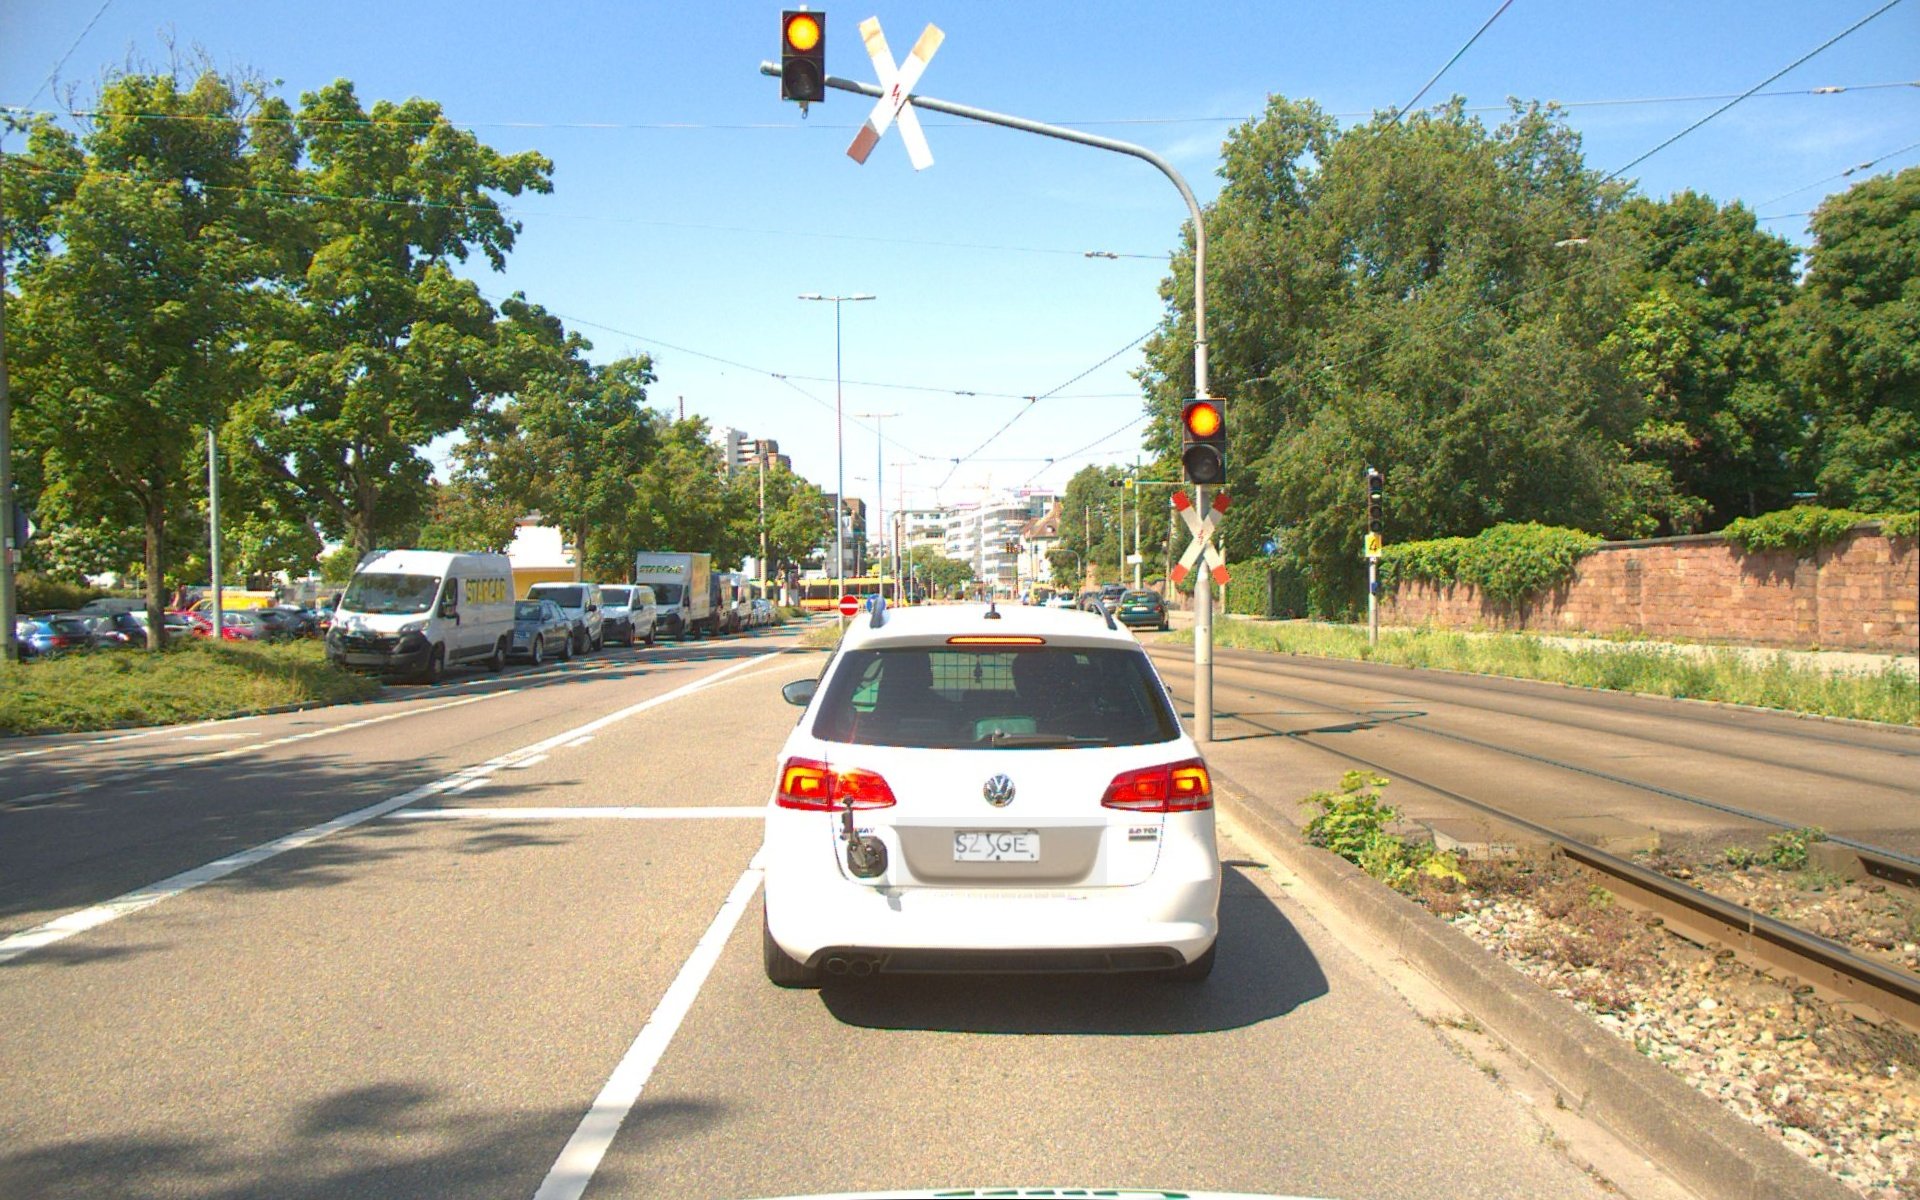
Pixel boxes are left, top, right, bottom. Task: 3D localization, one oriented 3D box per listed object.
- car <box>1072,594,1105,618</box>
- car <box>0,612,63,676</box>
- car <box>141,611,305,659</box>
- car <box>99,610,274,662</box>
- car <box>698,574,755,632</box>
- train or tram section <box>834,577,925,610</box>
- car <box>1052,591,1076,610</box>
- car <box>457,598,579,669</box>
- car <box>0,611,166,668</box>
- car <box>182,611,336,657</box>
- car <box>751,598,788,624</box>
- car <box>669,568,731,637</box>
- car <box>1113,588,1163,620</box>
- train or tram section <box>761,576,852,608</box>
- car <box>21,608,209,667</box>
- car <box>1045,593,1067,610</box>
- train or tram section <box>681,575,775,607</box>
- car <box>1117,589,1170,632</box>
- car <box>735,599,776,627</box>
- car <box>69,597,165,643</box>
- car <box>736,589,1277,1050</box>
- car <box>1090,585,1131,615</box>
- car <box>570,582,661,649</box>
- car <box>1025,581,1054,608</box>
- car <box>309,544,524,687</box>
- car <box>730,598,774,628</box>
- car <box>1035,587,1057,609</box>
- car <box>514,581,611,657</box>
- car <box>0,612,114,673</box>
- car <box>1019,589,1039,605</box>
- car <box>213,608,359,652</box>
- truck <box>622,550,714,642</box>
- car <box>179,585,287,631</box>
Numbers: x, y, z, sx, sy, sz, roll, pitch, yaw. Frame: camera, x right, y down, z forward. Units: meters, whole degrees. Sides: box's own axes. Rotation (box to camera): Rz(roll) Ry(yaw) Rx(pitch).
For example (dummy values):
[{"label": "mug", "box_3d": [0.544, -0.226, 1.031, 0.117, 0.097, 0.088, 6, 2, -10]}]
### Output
[{"label": "car", "box_3d": [8.005, 0.383, 103.367, 1.710, 1.432, 3.912, 1, 0, -1]}, {"label": "car", "box_3d": [-20.958, 0.934, 34.109, 3.907, 1.246, 1.770, -1, 0, -3]}, {"label": "car", "box_3d": [-21.263, 0.993, 47.796, 3.904, 1.246, 1.772, -1, 0, 2]}, {"label": "car", "box_3d": [-21.047, 0.966, 45.122, 3.904, 1.286, 1.772, -1, 0, 2]}, {"label": "car", "box_3d": [-10.797, 0.105, 76.816, 1.806, 2.538, 5.856, -1, 0, 0]}, {"label": "train or tram section", "box_3d": [-8.372, -0.735, 170.968, 11.076, 3.309, 2.294, 1, -1, 43]}, {"label": "car", "box_3d": [7.900, 0.041, 125.996, 1.549, 1.370, 3.453, 1, 0, -1]}, {"label": "car", "box_3d": [-10.502, 0.755, 39.560, 1.806, 1.543, 4.196, -1, 0, -1]}, {"label": "car", "box_3d": [-21.588, 0.952, 39.968, 3.904, 1.246, 1.772, -1, 0, 2]}, {"label": "car", "box_3d": [-21.253, 1.018, 50.249, 3.904, 1.246, 1.772, -1, 0, 2]}, {"label": "car", "box_3d": [-11.215, 0.643, 97.531, 1.744, 1.458, 4.037, -1, 0, -1]}, {"label": "car", "box_3d": [-10.839, 0.082, 69.249, 1.806, 2.715, 5.003, -1, 0, 0]}, {"label": "car", "box_3d": [8.380, 0.175, 78.325, 1.823, 1.441, 4.324, 1, 0, -1]}, {"label": "train or tram section", "box_3d": [-16.504, -0.852, 177.359, 10.580, 3.309, 2.302, 1, -1, 33]}, {"label": "car", "box_3d": [-21.716, 0.959, 42.580, 3.904, 1.373, 1.772, -1, 0, 2]}, {"label": "car", "box_3d": [7.898, 0.107, 136.390, 1.549, 1.370, 3.453, 1, 0, -1]}, {"label": "train or tram section", "box_3d": [-25.597, -0.996, 182.490, 10.766, 3.309, 2.307, 1, -1, 26]}, {"label": "car", "box_3d": [6.452, 0.337, 57.821, 1.708, 1.412, 3.916, 1, 0, 8]}, {"label": "car", "box_3d": [-11.403, 0.695, 92.348, 1.806, 1.458, 4.037, -1, 0, -1]}, {"label": "car", "box_3d": [-36.882, 0.871, 72.424, 3.354, 1.909, 1.552, -1, 0, -3]}, {"label": "car", "box_3d": [0.101, 0.703, 7.319, 1.732, 1.471, 3.912, 1, 0, -2]}, {"label": "car", "box_3d": [8.231, -0.020, 90.645, 1.823, 1.539, 3.912, 1, 0, -1]}, {"label": "car", "box_3d": [-10.960, 0.450, 52.914, 1.806, 1.995, 5.133, -1, 0, 0]}, {"label": "car", "box_3d": [7.697, -0.505, 160.232, 2.413, 2.542, 5.908, 1, 0, -1]}, {"label": "car", "box_3d": [-10.756, 0.253, 33.369, 2.016, 2.544, 6.309, 2, 1, 2]}, {"label": "car", "box_3d": [-10.840, 0.647, 86.394, 1.806, 1.458, 4.037, -1, 0, -1]}, {"label": "car", "box_3d": [7.476, -0.171, 144.501, 1.657, 1.844, 3.453, 1, 0, -1]}, {"label": "car", "box_3d": [-11.032, 0.492, 46.197, 1.807, 1.971, 5.189, -1, 0, -5]}, {"label": "car", "box_3d": [-21.238, 0.959, 36.786, 3.904, 1.246, 1.772, -1, 0, 2]}, {"label": "car", "box_3d": [7.230, -0.280, 173.882, 1.953, 1.624, 3.999, 1, 0, 0]}, {"label": "car", "box_3d": [-21.398, 0.940, 52.596, 3.904, 1.246, 1.772, -1, 0, 2]}, {"label": "truck", "box_3d": [-10.725, -0.175, 61.323, 2.309, 3.177, 6.889, -1, 0, -2]}, {"label": "car", "box_3d": [-34.109, 0.399, 77.723, 4.175, 2.049, 1.997, 1, -1, -7]}]
